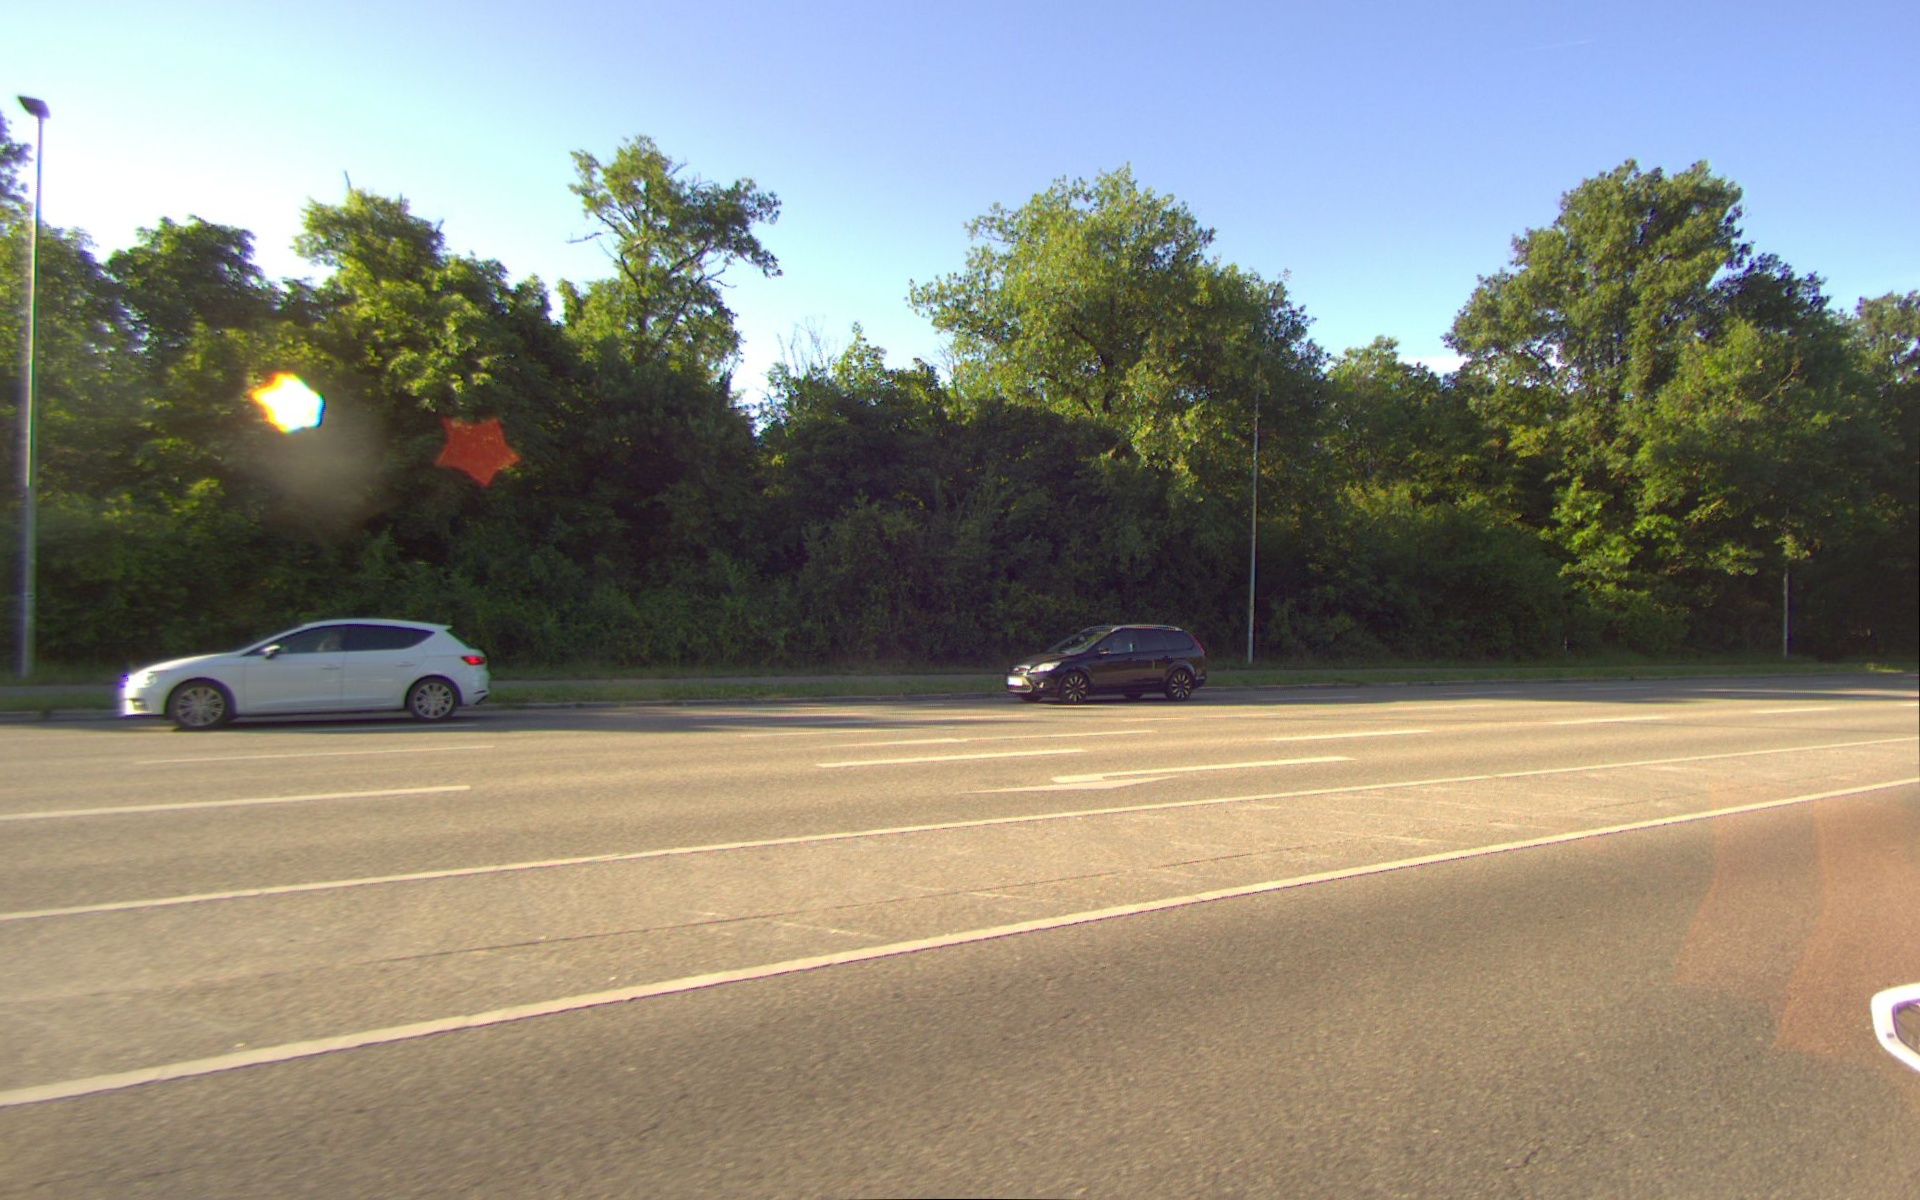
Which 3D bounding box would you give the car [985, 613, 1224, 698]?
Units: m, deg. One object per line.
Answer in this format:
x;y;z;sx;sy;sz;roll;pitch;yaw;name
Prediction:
2.981;1.167;20.574;4.591;1.584;1.986;2;-5;-29;car

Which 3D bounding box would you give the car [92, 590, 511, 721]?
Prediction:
-8.958;0.795;14.152;4.595;1.584;1.984;2;-4;-31;car
